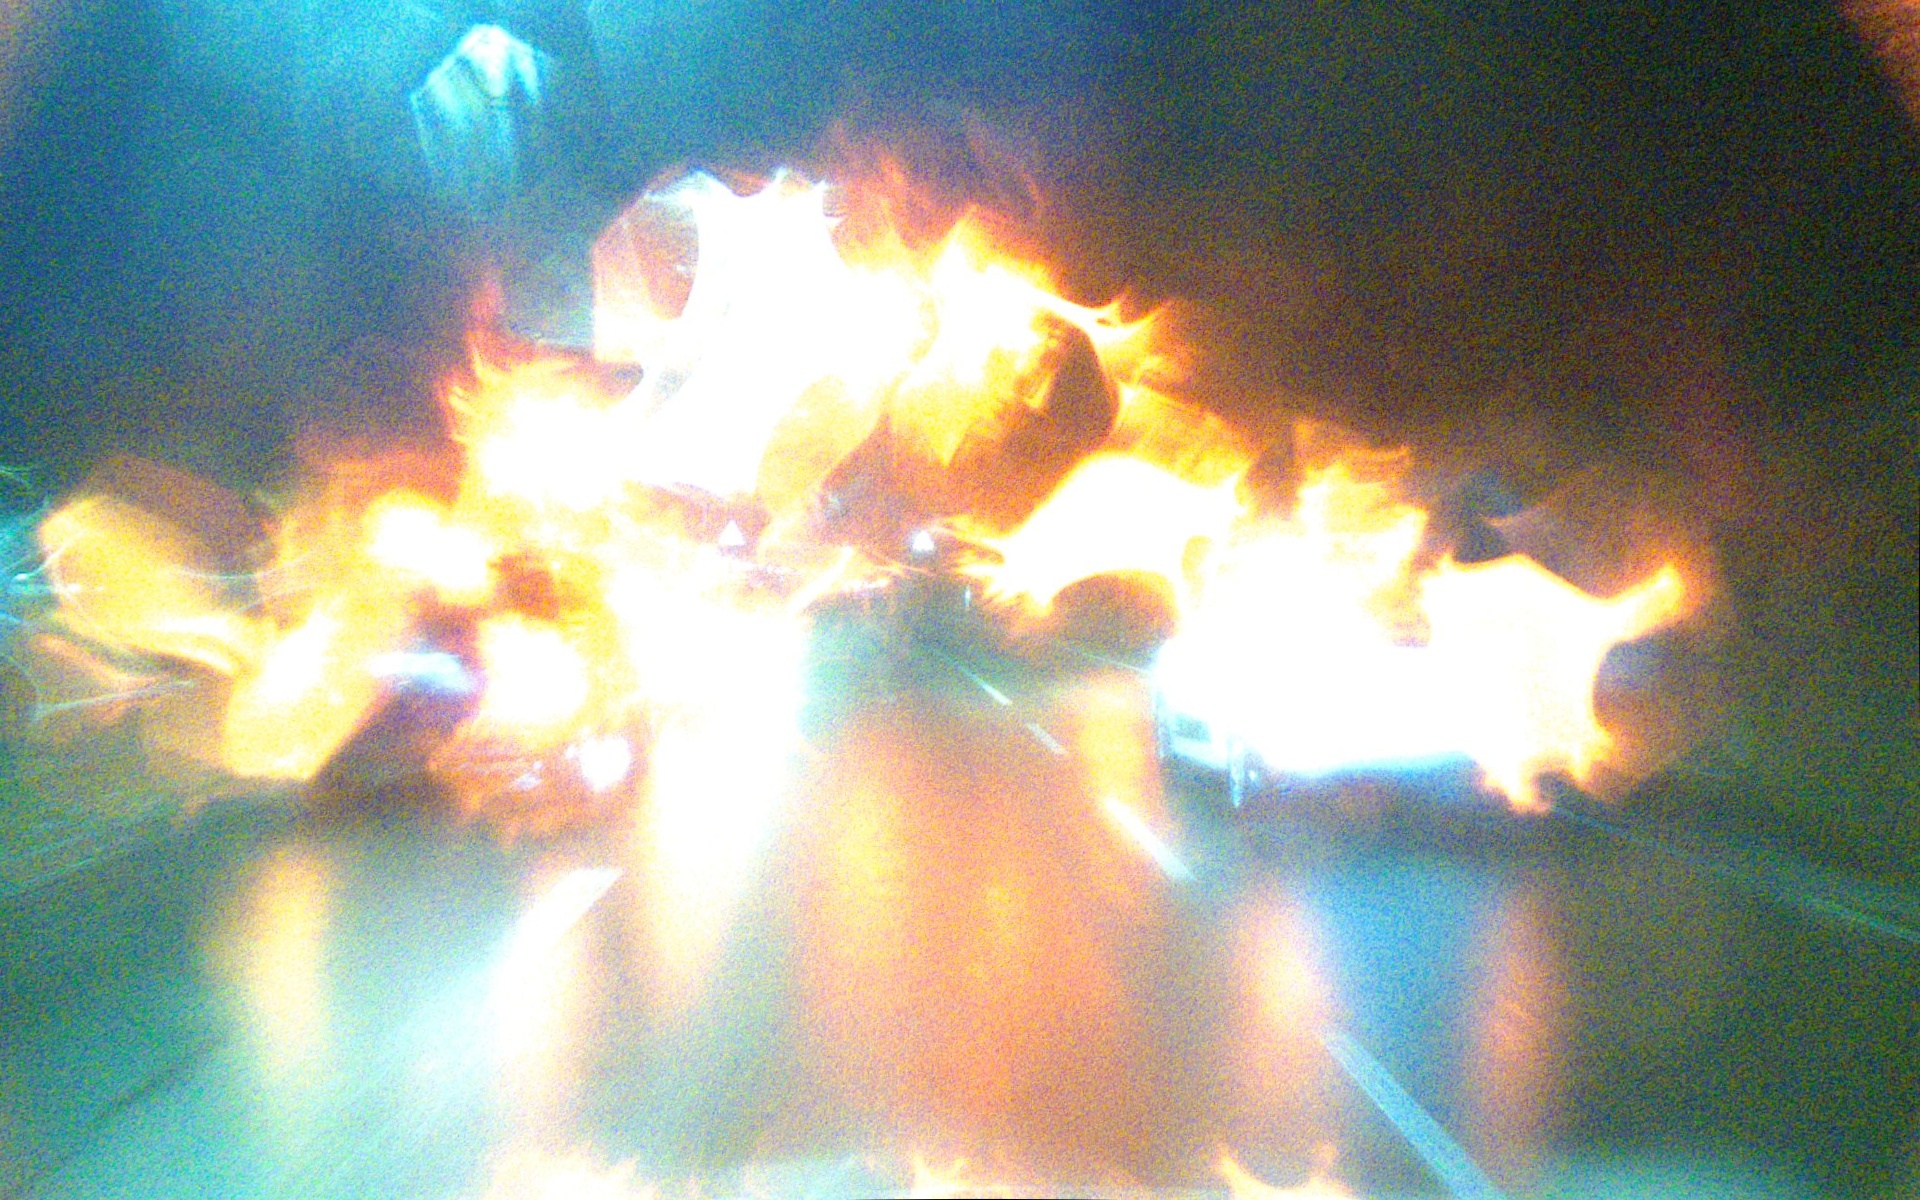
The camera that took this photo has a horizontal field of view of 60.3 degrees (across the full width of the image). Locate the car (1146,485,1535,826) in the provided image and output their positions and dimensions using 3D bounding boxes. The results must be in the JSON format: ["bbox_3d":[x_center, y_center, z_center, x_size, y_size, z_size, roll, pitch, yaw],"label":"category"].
[{"bbox_3d":[2.581,0.320,12.379,1.755,2.057,4.578,1,0,-1],"label":"car"}]

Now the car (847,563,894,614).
[{"bbox_3d":[-3.812,-0.498,69.673,1.757,2.057,4.574,1,0,-6],"label":"car"}]

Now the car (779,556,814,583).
[{"bbox_3d":[-12.027,-2.244,121.755,1.953,1.746,4.000,4,-1,1],"label":"car"}]

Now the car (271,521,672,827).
[{"bbox_3d":[-3.291,0.419,12.069,1.748,1.813,4.434,0,1,-2],"label":"car"}]

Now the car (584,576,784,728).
[{"bbox_3d":[-3.062,0.513,19.196,1.748,1.537,4.434,-1,0,-3],"label":"car"}]
